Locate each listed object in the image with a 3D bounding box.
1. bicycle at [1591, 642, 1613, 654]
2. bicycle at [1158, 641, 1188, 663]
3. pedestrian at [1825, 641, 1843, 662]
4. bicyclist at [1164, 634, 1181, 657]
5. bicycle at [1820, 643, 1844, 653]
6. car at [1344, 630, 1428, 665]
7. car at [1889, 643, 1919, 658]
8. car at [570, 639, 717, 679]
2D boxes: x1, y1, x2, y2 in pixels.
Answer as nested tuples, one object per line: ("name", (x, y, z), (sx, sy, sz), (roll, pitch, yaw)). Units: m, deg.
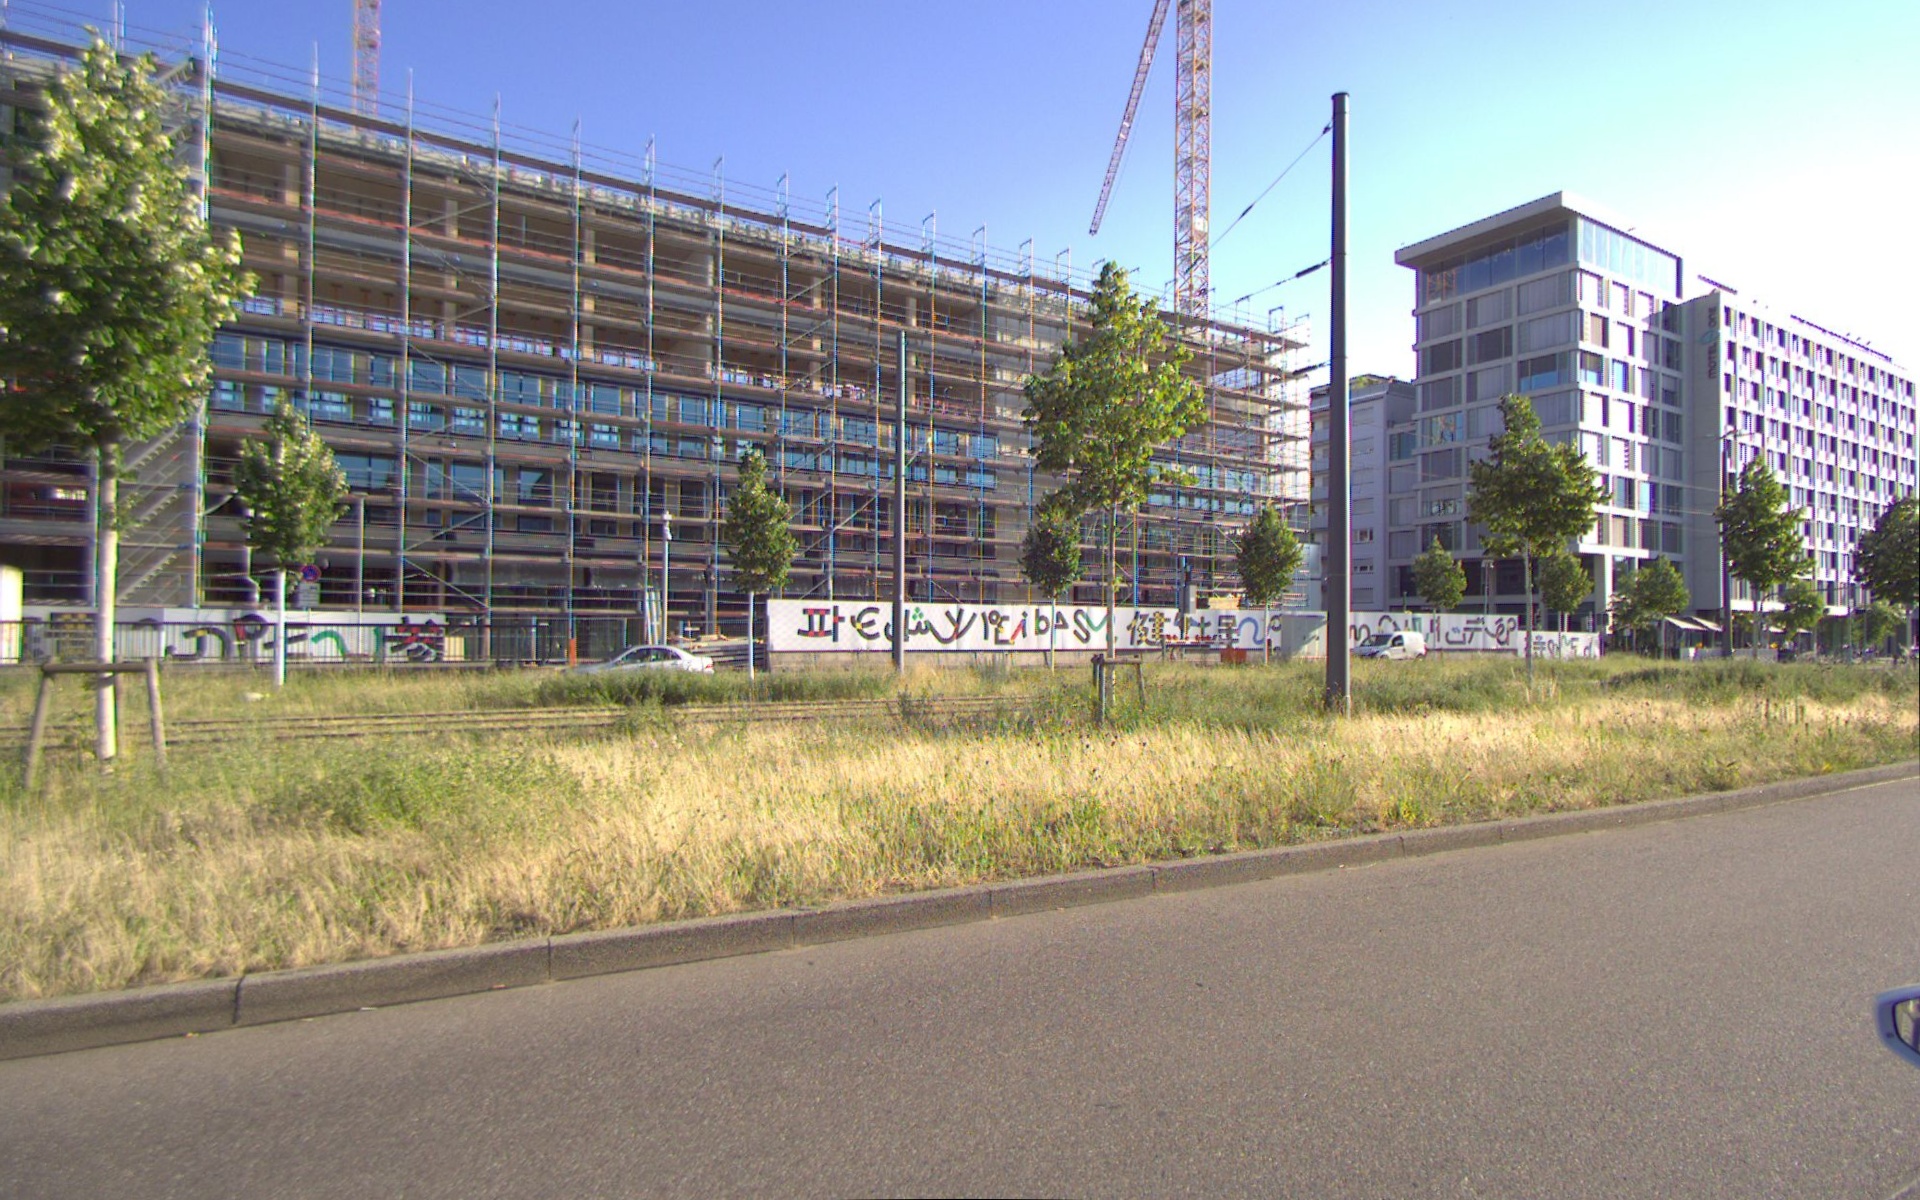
("bicycle", (50.333, 3.761, 78.705), (2.192, 0.948, 0.615), (2, -1, -33))
("bicycle", (10.688, 2.619, 50.316), (1.545, 1.075, 0.476), (2, -1, -28))
("pedestrian", (72.871, 4.298, 83.708), (0.792, 1.744, 0.867), (1, -1, -22))
("bicyclist", (10.635, 2.273, 50.288), (0.630, 1.169, 0.476), (1, -1, -29))
("bicycle", (88.659, 4.880, 102.100), (0.507, 0.917, 1.791), (2, -2, -37))
("car", (19.784, 2.187, 46.649), (3.793, 1.578, 1.598), (1, -1, -28))
("car", (88.152, 4.688, 93.308), (3.955, 1.346, 1.747), (2, 0, -32))
("car", (-9.169, 1.684, 29.160), (3.799, 1.082, 1.614), (2, -1, -32))
